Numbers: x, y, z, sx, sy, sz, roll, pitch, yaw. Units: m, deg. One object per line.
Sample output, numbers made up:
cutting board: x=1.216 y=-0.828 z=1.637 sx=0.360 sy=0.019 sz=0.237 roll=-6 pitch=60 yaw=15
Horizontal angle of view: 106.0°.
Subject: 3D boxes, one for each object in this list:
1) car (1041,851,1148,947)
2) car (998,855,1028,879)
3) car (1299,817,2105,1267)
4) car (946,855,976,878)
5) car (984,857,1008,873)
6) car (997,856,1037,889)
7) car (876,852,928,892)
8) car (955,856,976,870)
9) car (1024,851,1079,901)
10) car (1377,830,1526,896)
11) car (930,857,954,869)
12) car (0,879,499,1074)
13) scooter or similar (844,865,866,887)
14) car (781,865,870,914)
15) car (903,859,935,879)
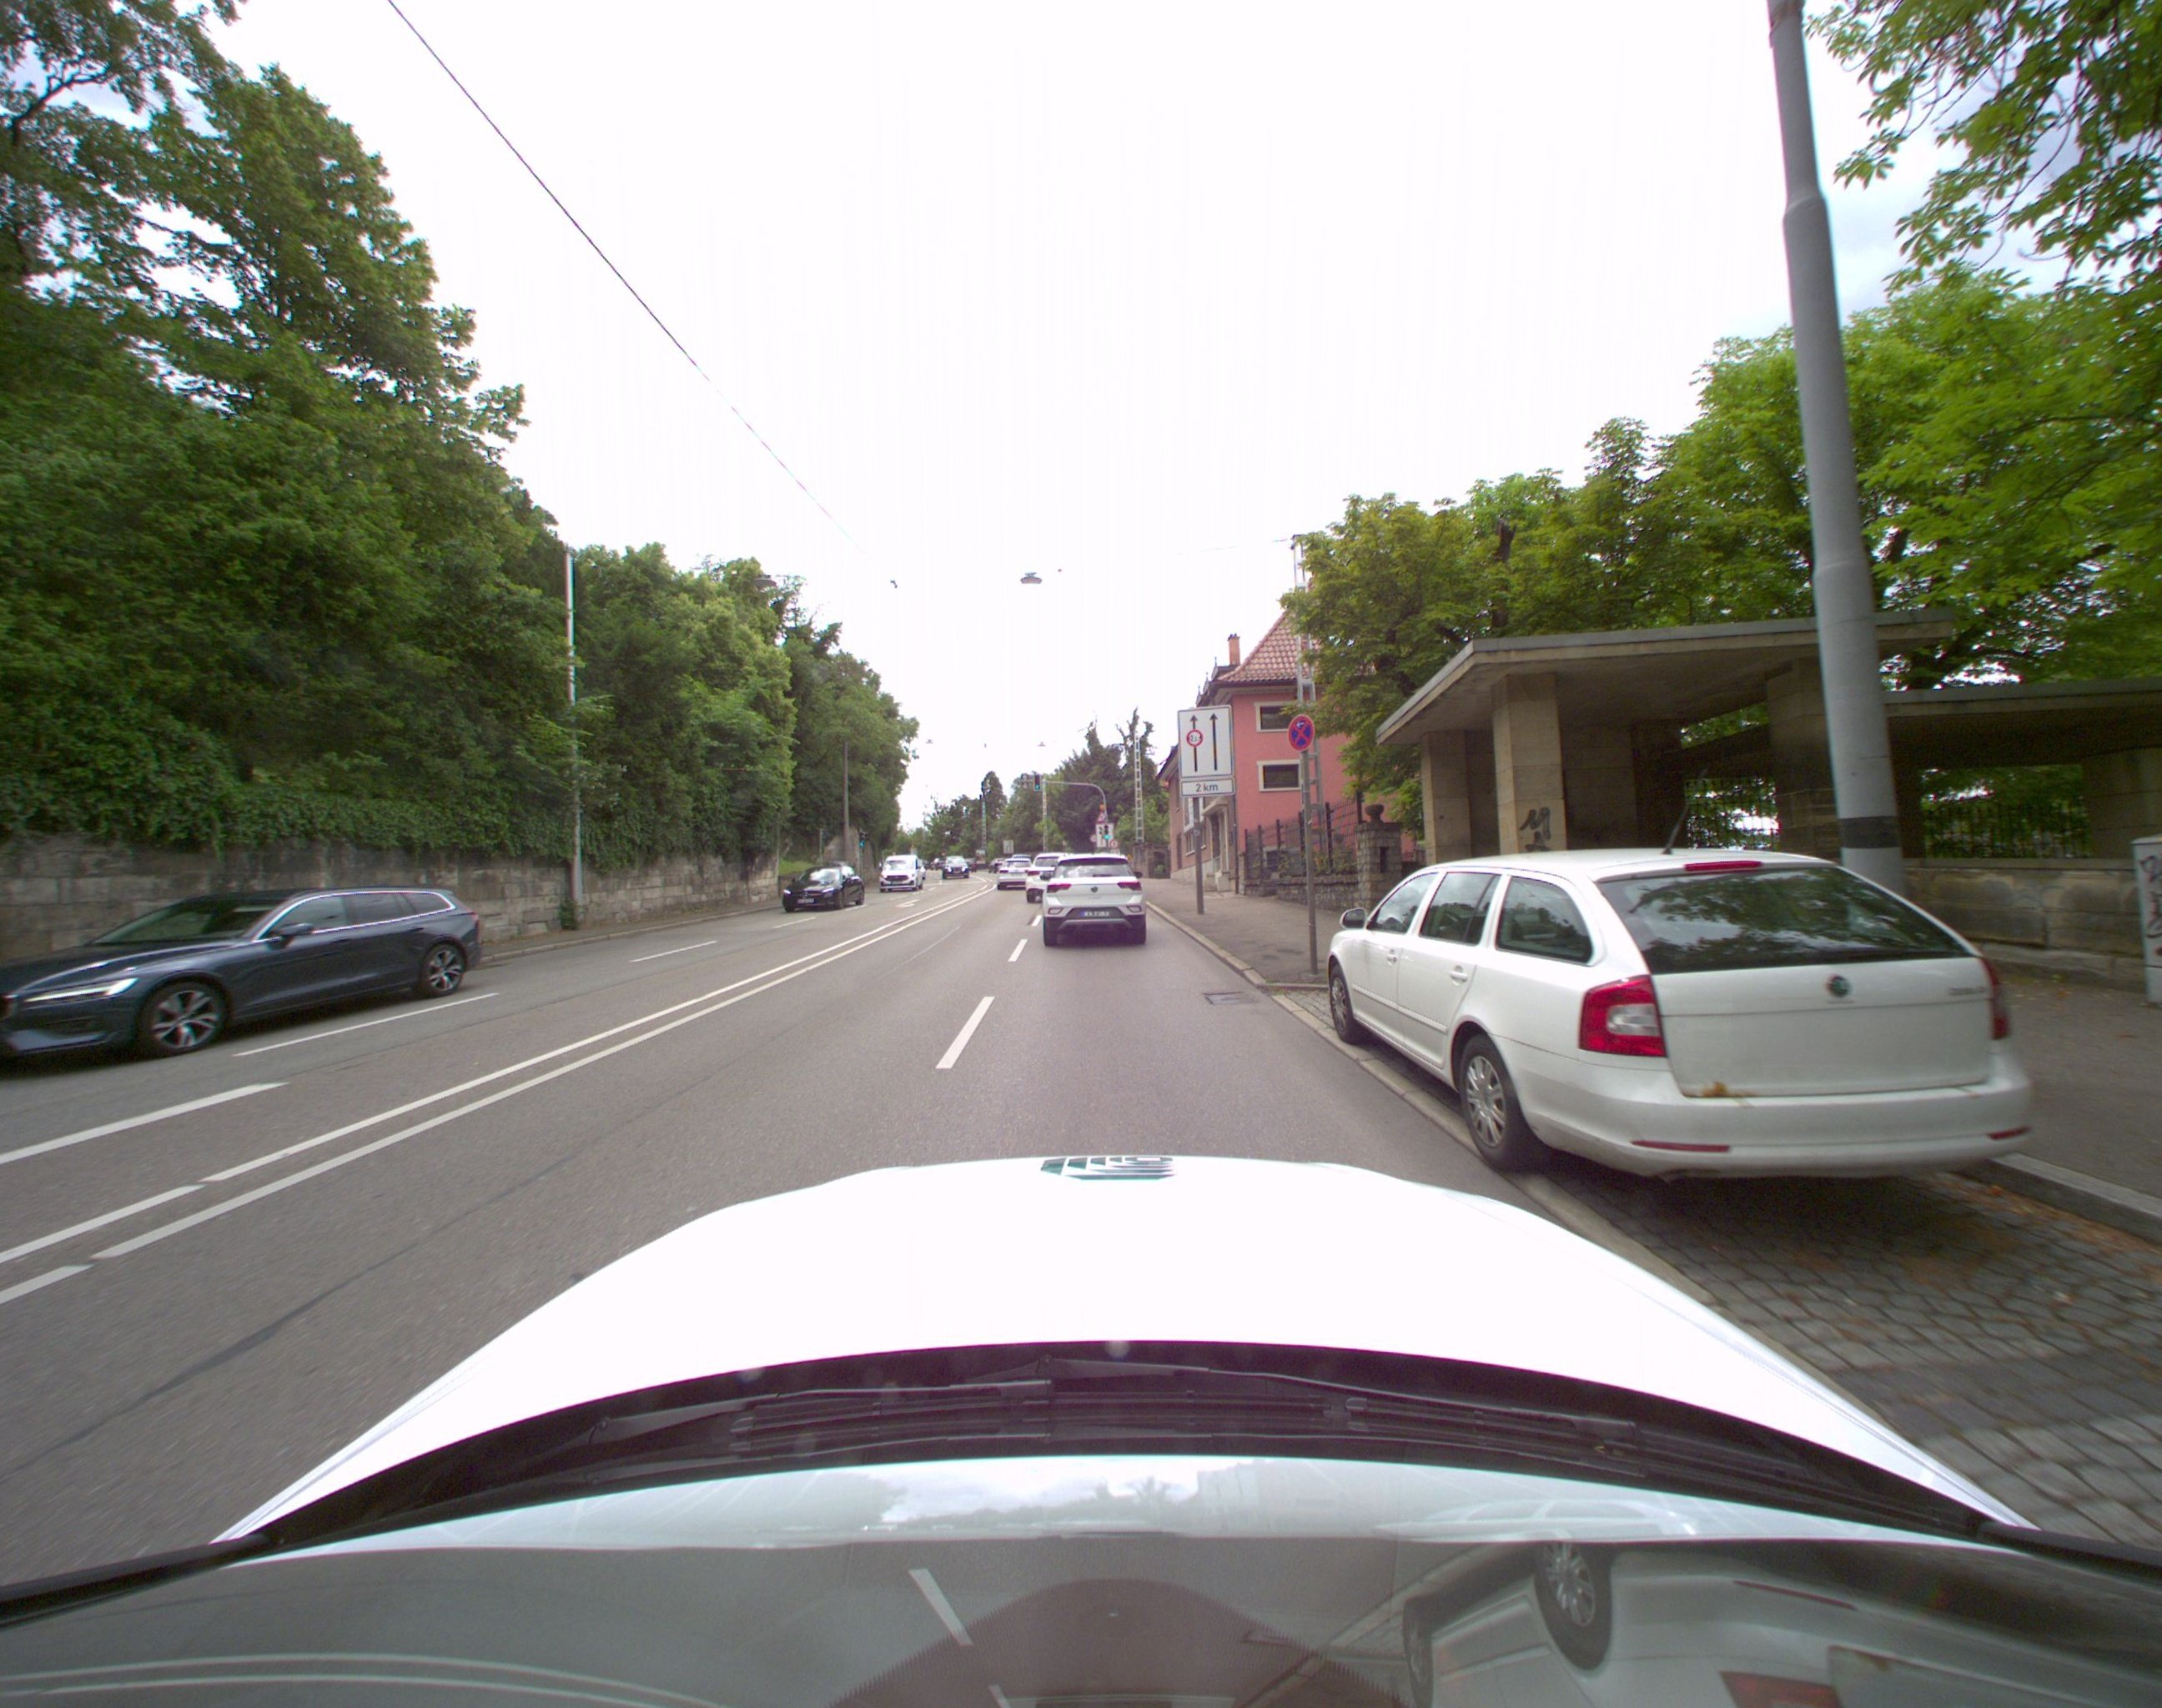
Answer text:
car: x=0.321 y=0.768 z=15.211 sx=1.750 sy=1.556 sz=3.798 roll=0 pitch=-1 yaw=3
car: x=-4.677 y=0.856 z=56.285 sx=1.990 sy=1.556 sz=4.143 roll=0 pitch=0 yaw=-5
car: x=2.723 y=0.665 z=5.003 sx=1.669 sy=1.461 sz=4.368 roll=-3 pitch=0 yaw=2
car: x=-8.952 y=0.910 z=60.864 sx=1.845 sy=1.632 sz=4.354 roll=-1 pitch=0 yaw=-4
car: x=-8.359 y=1.079 z=80.049 sx=1.994 sy=1.450 sz=4.134 roll=-1 pitch=-1 yaw=-11
car: x=-2.986 y=0.864 z=38.357 sx=1.754 sy=1.471 sz=3.789 roll=0 pitch=-1 yaw=-4
car: x=-9.030 y=0.919 z=41.387 sx=1.889 sy=1.848 sz=4.389 roll=3 pitch=-1 yaw=-4
car: x=-12.522 y=0.975 z=88.241 sx=1.783 sy=1.454 sz=3.980 roll=-1 pitch=-1 yaw=-14
car: x=-0.960 y=0.745 z=28.010 sx=1.752 sy=1.610 sz=3.793 roll=0 pitch=-1 yaw=-1
car: x=9.051 y=0.190 z=20.306 sx=1.986 sy=1.422 sz=4.002 roll=-2 pitch=0 yaw=2
car: x=-19.134 y=1.231 z=111.947 sx=2.006 sy=1.575 sz=4.110 roll=-1 pitch=-1 yaw=-30
car: x=-8.829 y=1.075 z=8.725 sx=1.836 sy=1.409 sz=4.457 roll=-3 pitch=-1 yaw=1
scooter or similar: x=-12.990 y=1.285 z=46.871 sx=0.429 sy=1.237 sz=1.105 roll=1 pitch=-2 yaw=40
car: x=-8.461 y=1.134 z=27.305 sx=1.557 sy=1.402 sz=4.253 roll=-3 pitch=-1 yaw=0
car: x=-12.493 y=1.116 z=63.078 sx=1.711 sy=1.403 sz=4.021 roll=-3 pitch=0 yaw=-2
